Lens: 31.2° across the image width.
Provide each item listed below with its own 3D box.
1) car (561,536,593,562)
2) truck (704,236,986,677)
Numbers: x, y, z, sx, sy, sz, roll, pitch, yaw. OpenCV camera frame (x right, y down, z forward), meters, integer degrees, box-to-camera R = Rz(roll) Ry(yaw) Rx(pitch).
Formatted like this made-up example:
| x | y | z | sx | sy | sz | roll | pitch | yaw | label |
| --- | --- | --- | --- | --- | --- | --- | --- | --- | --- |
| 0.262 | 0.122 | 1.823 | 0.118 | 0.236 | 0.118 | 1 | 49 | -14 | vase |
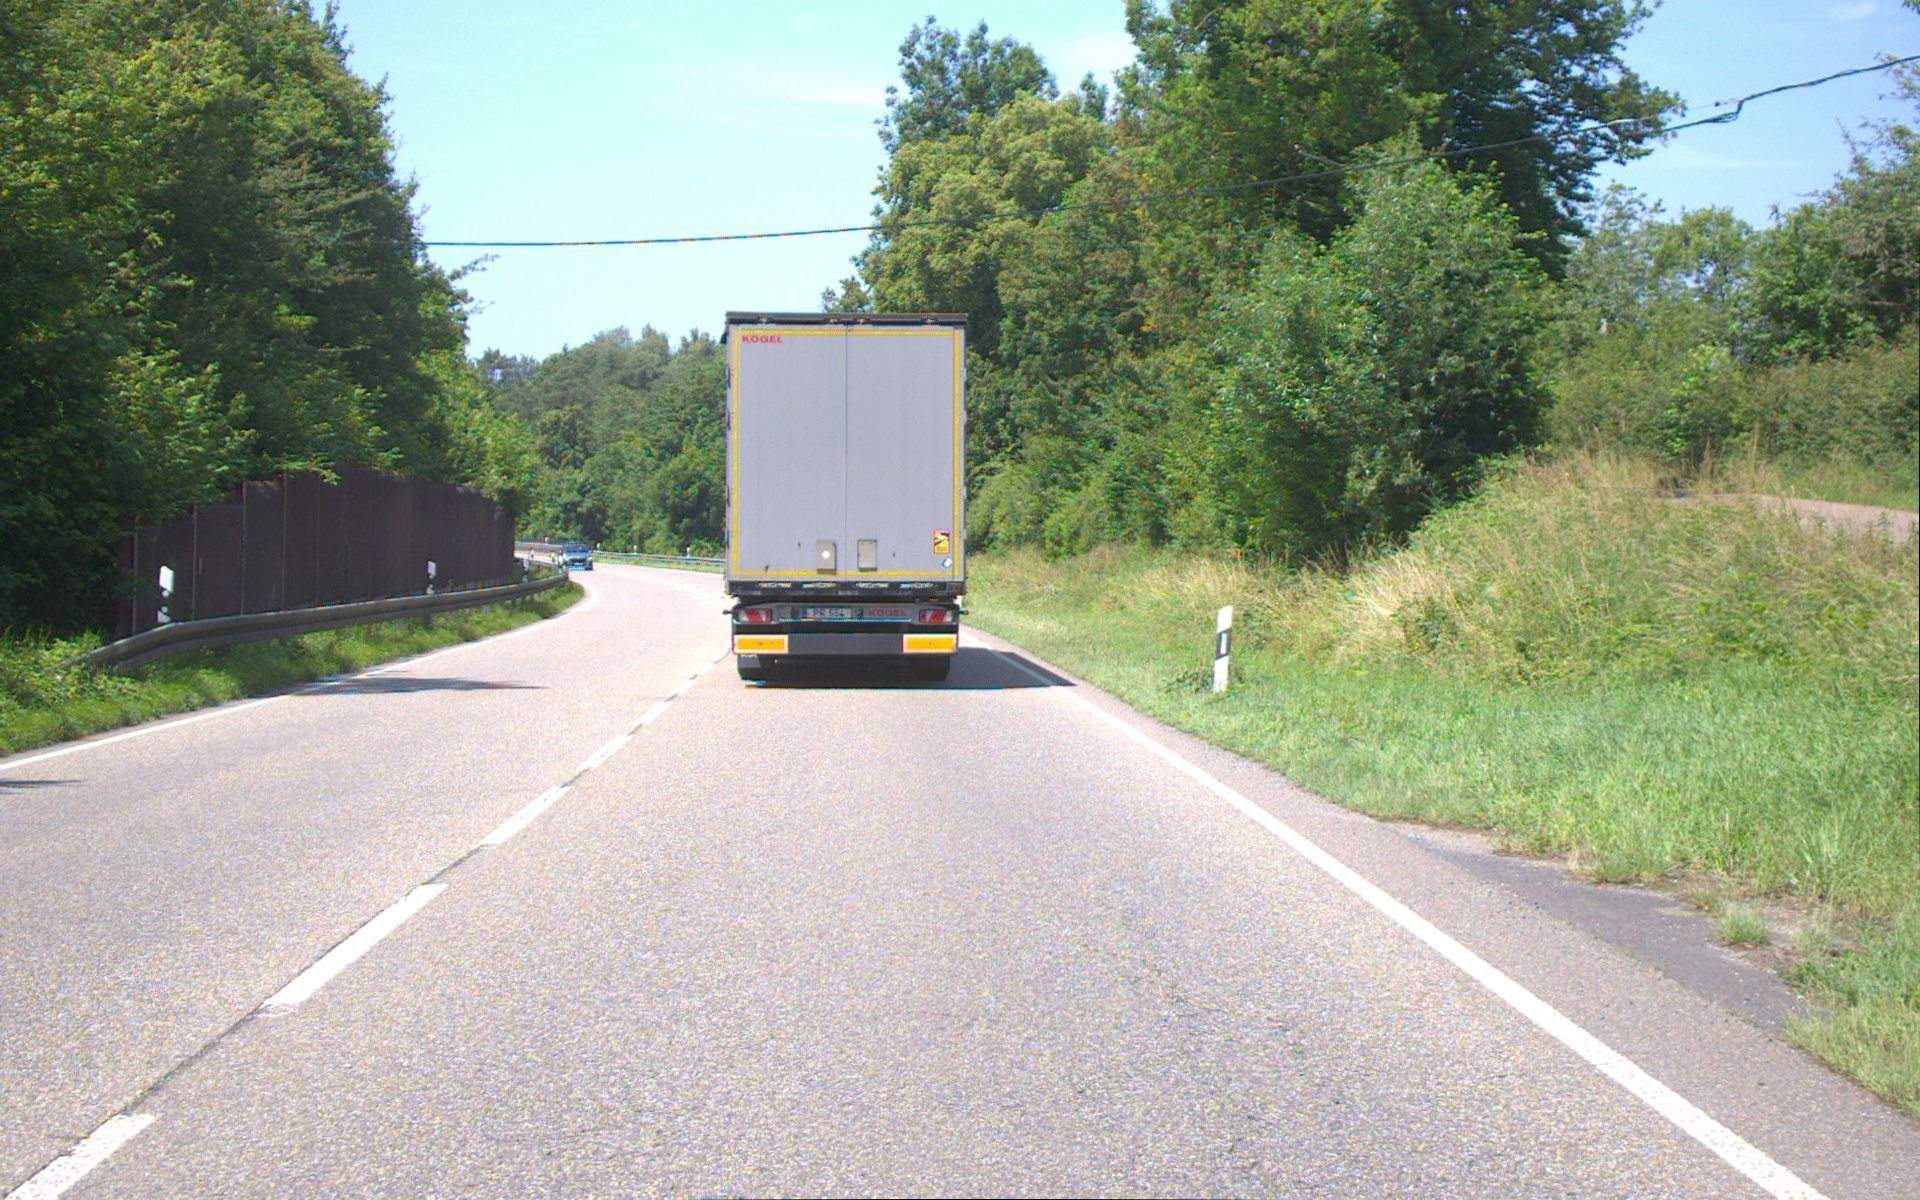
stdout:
| x | y | z | sx | sy | sz | roll | pitch | yaw | label |
| --- | --- | --- | --- | --- | --- | --- | --- | --- | --- |
| -22.374 | -2.987 | 200.802 | 1.616 | 1.486 | 3.618 | 0 | 1 | -10 | car |
| -1.175 | -1.509 | 39.206 | 2.822 | 4.588 | 6.665 | 0 | 0 | 1 | truck |
